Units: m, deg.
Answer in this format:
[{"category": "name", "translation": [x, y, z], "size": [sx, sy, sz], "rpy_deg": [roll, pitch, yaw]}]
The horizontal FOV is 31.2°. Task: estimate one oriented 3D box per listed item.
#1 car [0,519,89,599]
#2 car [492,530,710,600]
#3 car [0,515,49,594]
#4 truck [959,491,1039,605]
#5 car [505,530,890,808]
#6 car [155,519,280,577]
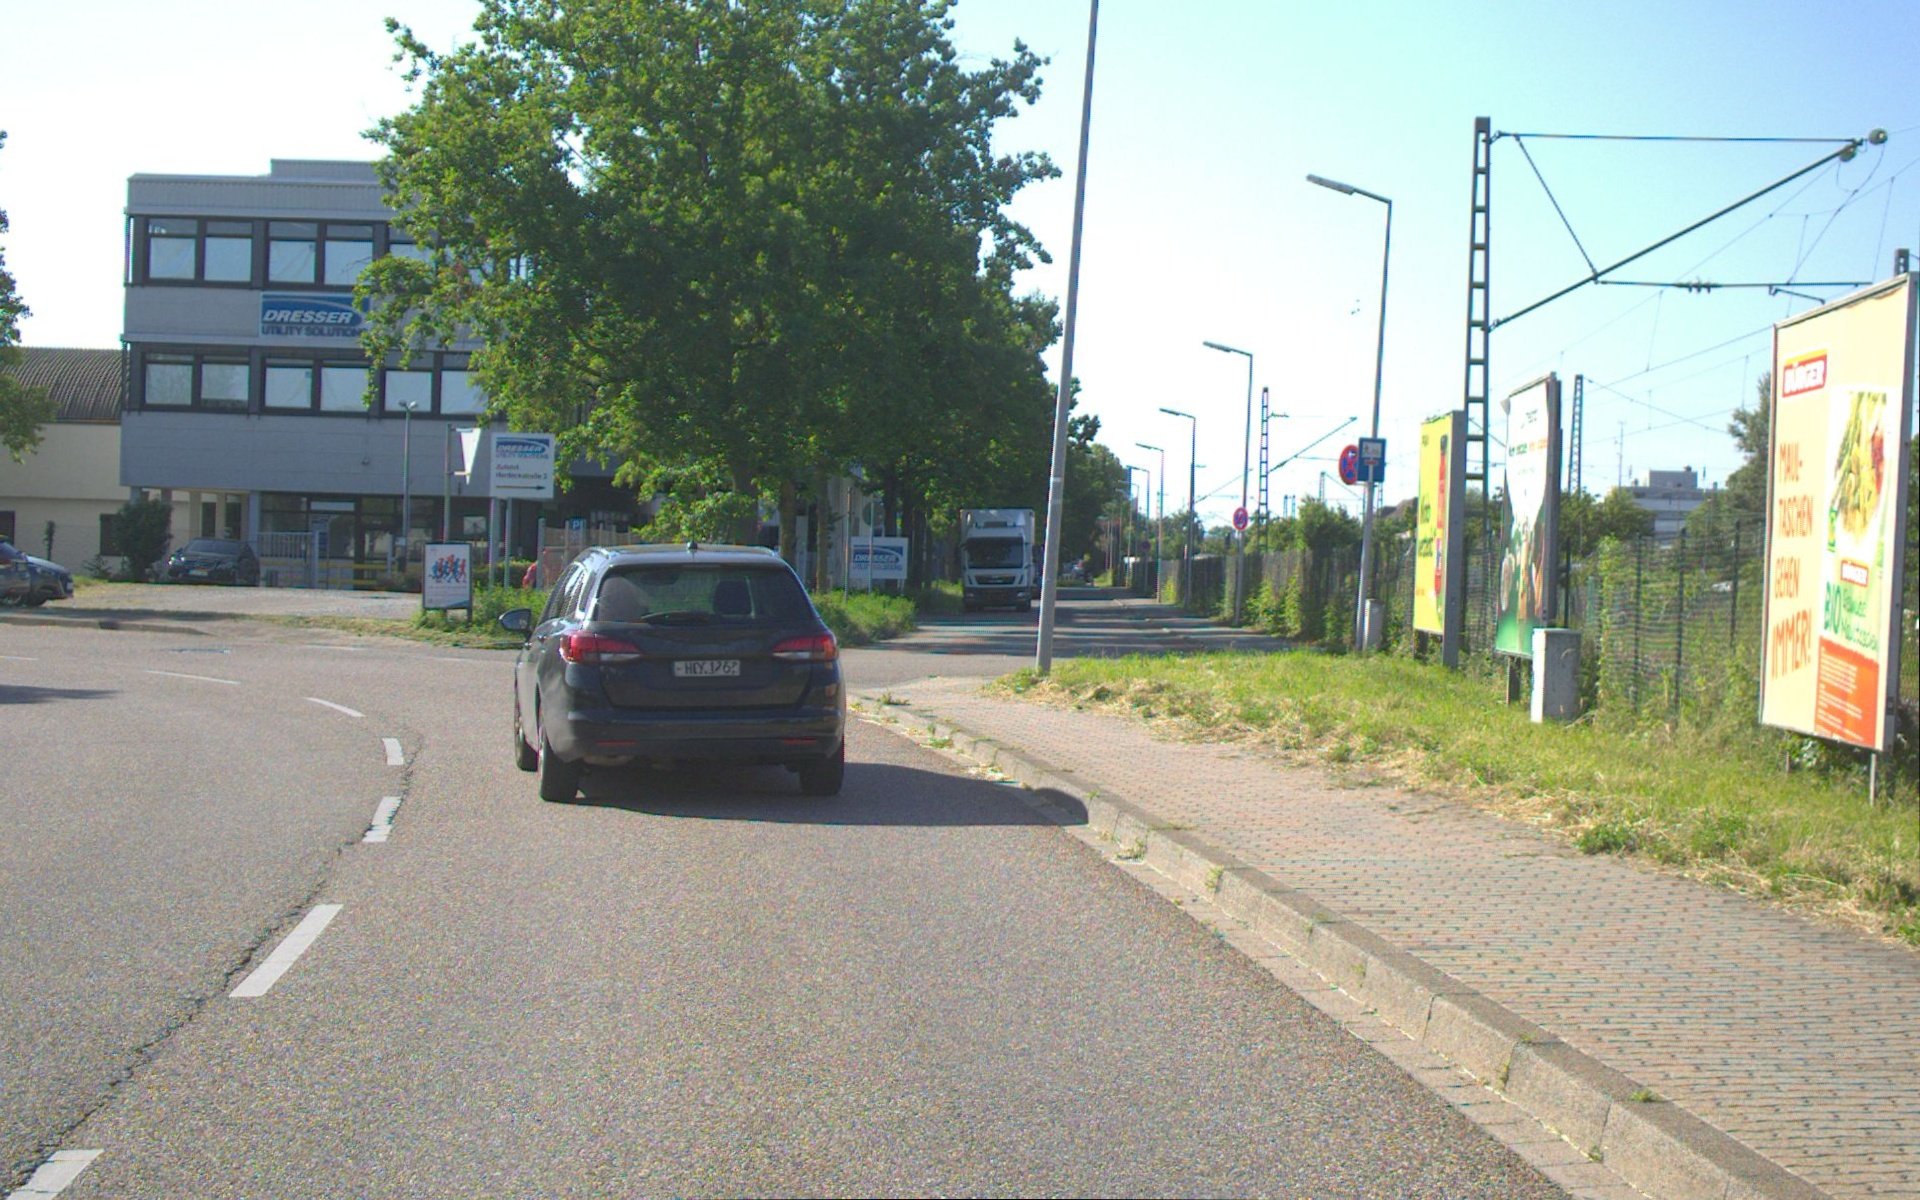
[{"category": "car", "translation": [-19.499, -0.843, 66.139], "size": [4.910, 1.479, 2.000], "rpy_deg": [2, 1, 2]}, {"category": "car", "translation": [-8.659, -0.861, 83.129], "size": [4.912, 1.479, 2.000], "rpy_deg": [2, 2, 7]}, {"category": "car", "translation": [-19.585, -0.907, 63.536], "size": [4.910, 1.421, 2.000], "rpy_deg": [2, 1, 2]}, {"category": "truck", "translation": [1.378, -1.900, 127.051], "size": [2.613, 3.872, 13.532], "rpy_deg": [3, 1, 0]}, {"category": "car", "translation": [-1.740, 0.337, 21.218], "size": [1.942, 1.483, 4.567], "rpy_deg": [0, 2, -10]}, {"category": "car", "translation": [-20.498, -1.465, 95.102], "size": [1.994, 1.479, 4.926], "rpy_deg": [2, 2, 5]}]
